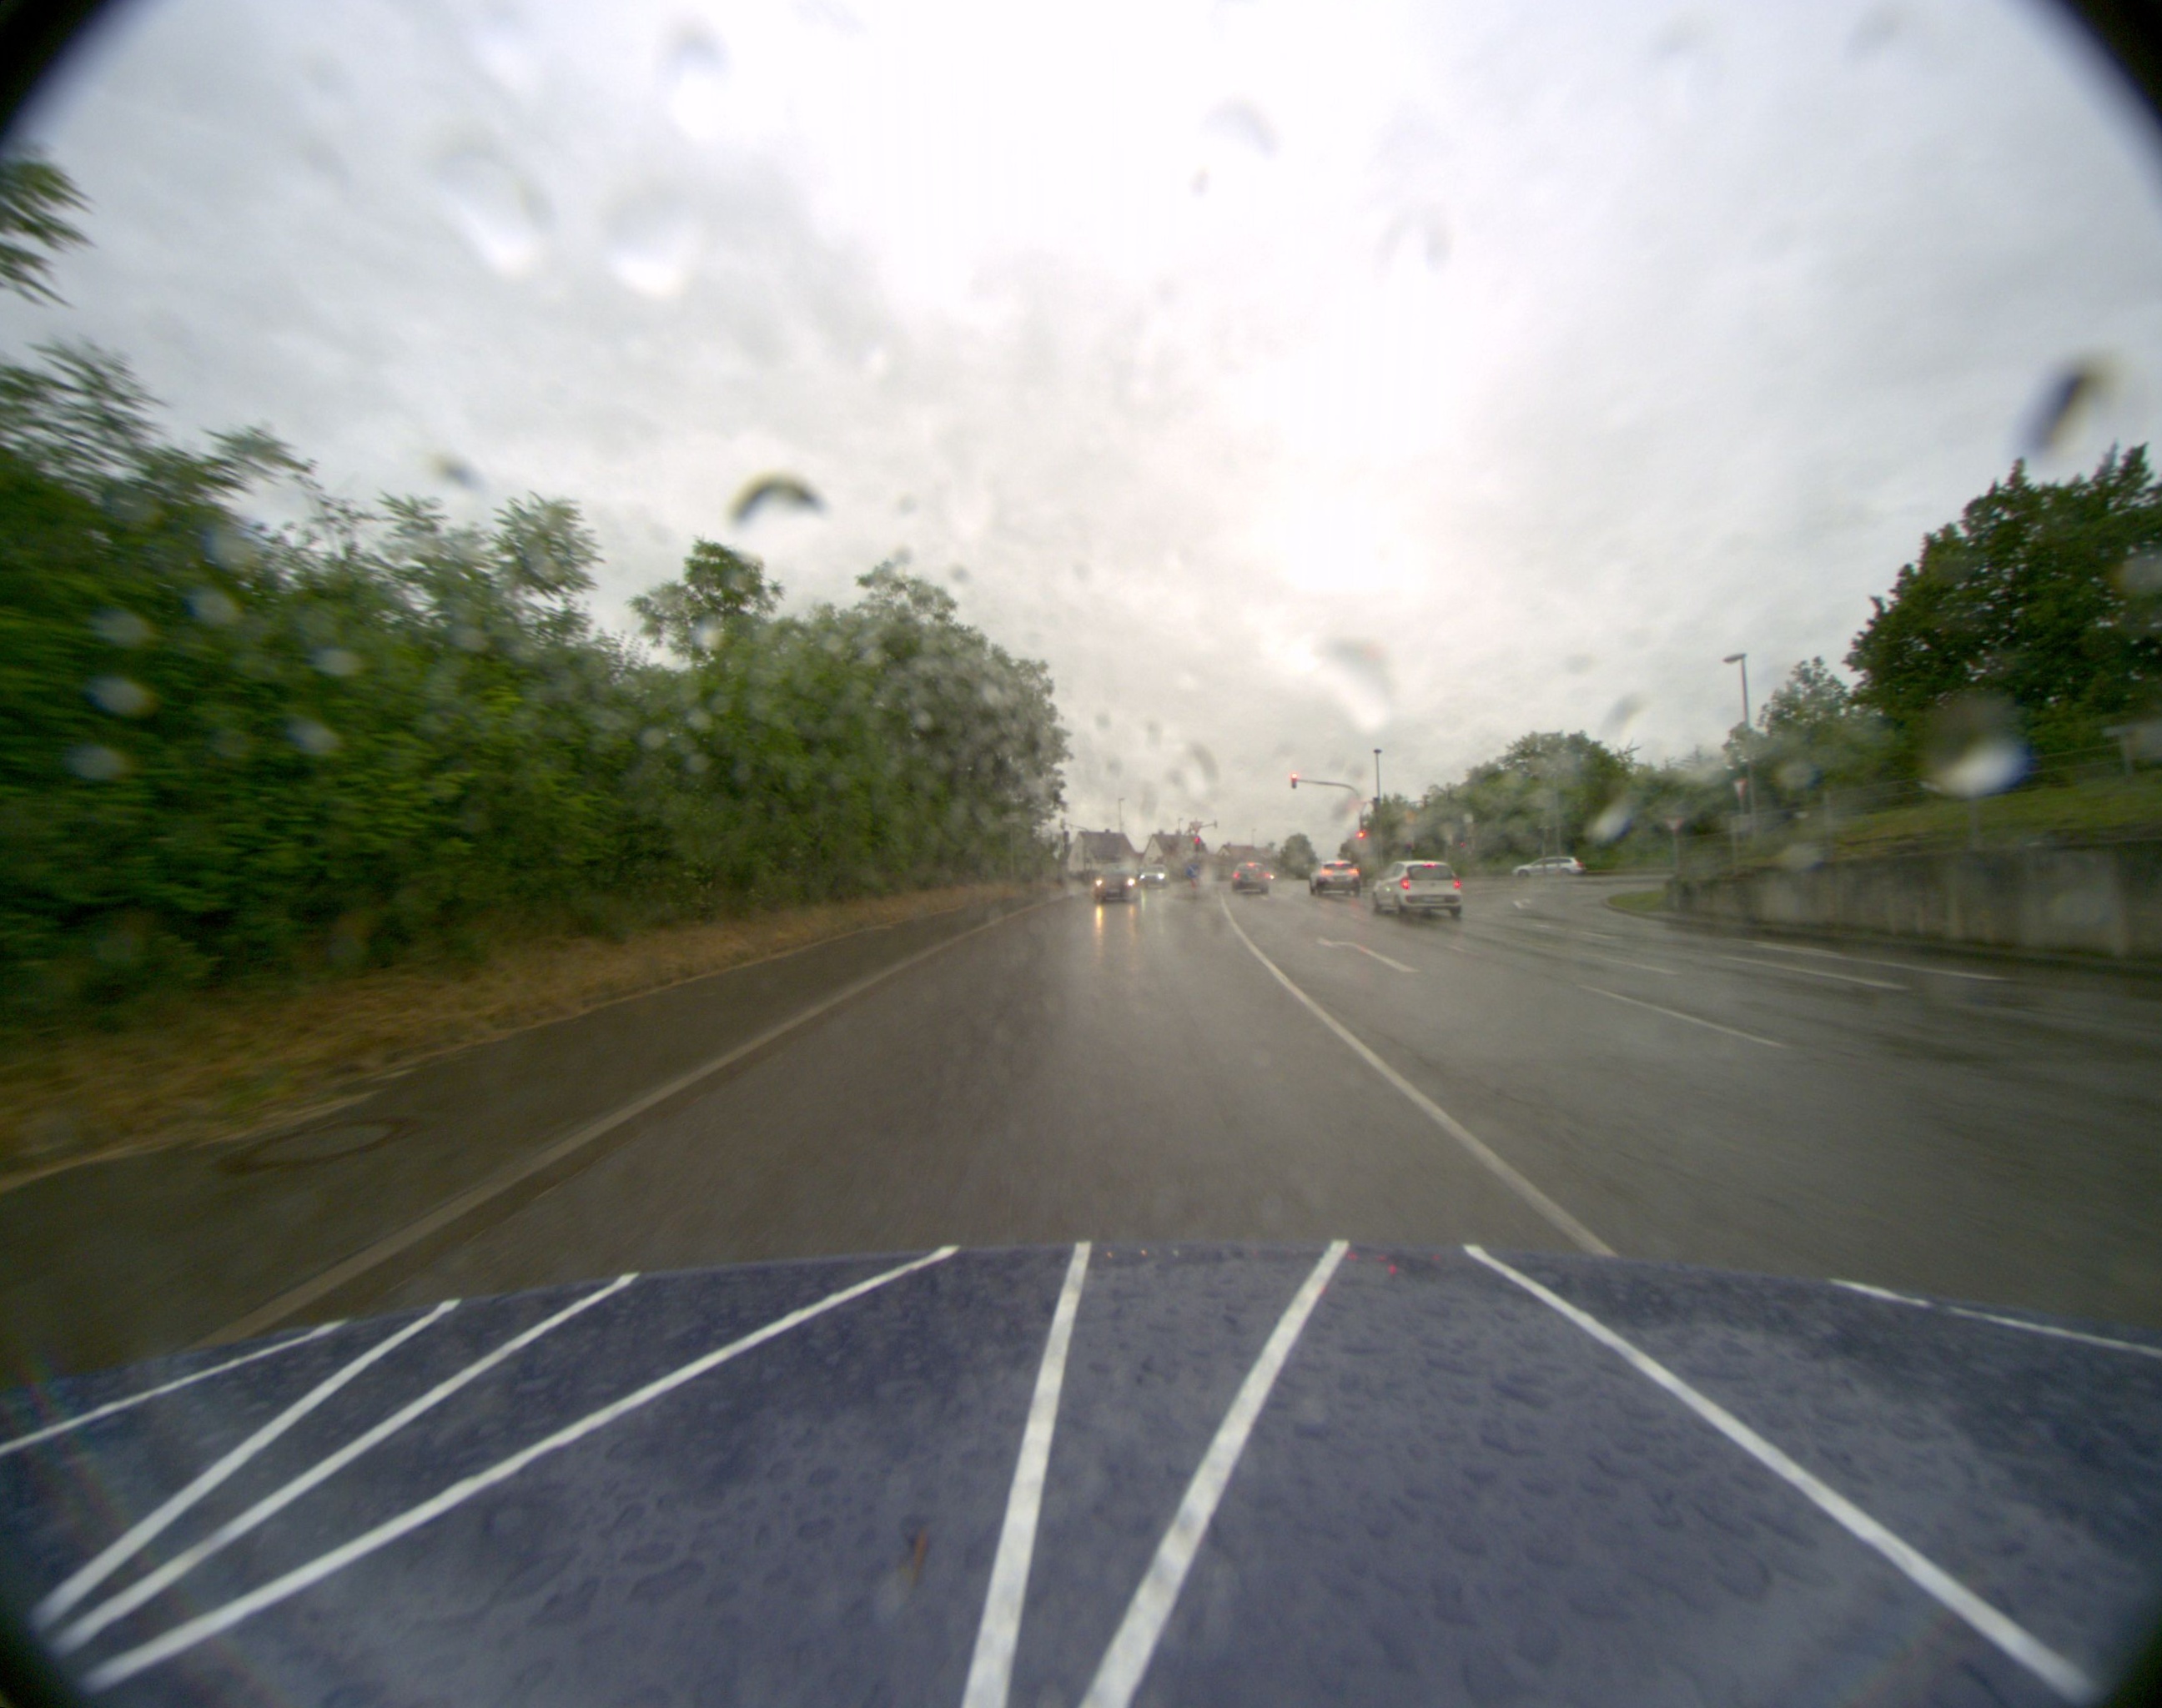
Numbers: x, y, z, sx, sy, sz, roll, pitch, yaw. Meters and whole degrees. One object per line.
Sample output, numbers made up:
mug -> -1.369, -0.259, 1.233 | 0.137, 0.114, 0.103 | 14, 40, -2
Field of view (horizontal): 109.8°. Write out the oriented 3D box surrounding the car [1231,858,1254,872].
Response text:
car -> 27.428, 1.908, 129.017 | 4.008, 2.336, 1.650 | 0, -2, -37

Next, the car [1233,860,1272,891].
car -> 8.620, 1.075, 38.442 | 1.664, 1.485, 4.003 | 0, -1, 9

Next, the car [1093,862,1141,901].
car -> 1.504, 1.100, 30.608 | 1.665, 1.409, 3.936 | -2, -2, 6

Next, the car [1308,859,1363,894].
car -> 11.645, 0.992, 34.974 | 1.723, 1.485, 4.003 | -2, -1, 9

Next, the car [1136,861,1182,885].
car -> 5.259, 1.274, 50.746 | 1.895, 1.473, 4.008 | -2, -2, 24

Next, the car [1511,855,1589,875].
car -> 33.946, 0.819, 55.043 | 4.520, 1.354, 1.766 | -3, -2, 44

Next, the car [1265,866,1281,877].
car -> 27.753, 2.533, 109.837 | 1.755, 1.547, 3.926 | -2, -2, 21

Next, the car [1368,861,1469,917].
car -> 9.438, 0.938, 21.554 | 1.656, 1.420, 3.796 | -2, -1, 9

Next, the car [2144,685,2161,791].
car -> 17.746, -1.839, 9.962 | 3.989, 1.577, 1.906 | -3, 0, 36
